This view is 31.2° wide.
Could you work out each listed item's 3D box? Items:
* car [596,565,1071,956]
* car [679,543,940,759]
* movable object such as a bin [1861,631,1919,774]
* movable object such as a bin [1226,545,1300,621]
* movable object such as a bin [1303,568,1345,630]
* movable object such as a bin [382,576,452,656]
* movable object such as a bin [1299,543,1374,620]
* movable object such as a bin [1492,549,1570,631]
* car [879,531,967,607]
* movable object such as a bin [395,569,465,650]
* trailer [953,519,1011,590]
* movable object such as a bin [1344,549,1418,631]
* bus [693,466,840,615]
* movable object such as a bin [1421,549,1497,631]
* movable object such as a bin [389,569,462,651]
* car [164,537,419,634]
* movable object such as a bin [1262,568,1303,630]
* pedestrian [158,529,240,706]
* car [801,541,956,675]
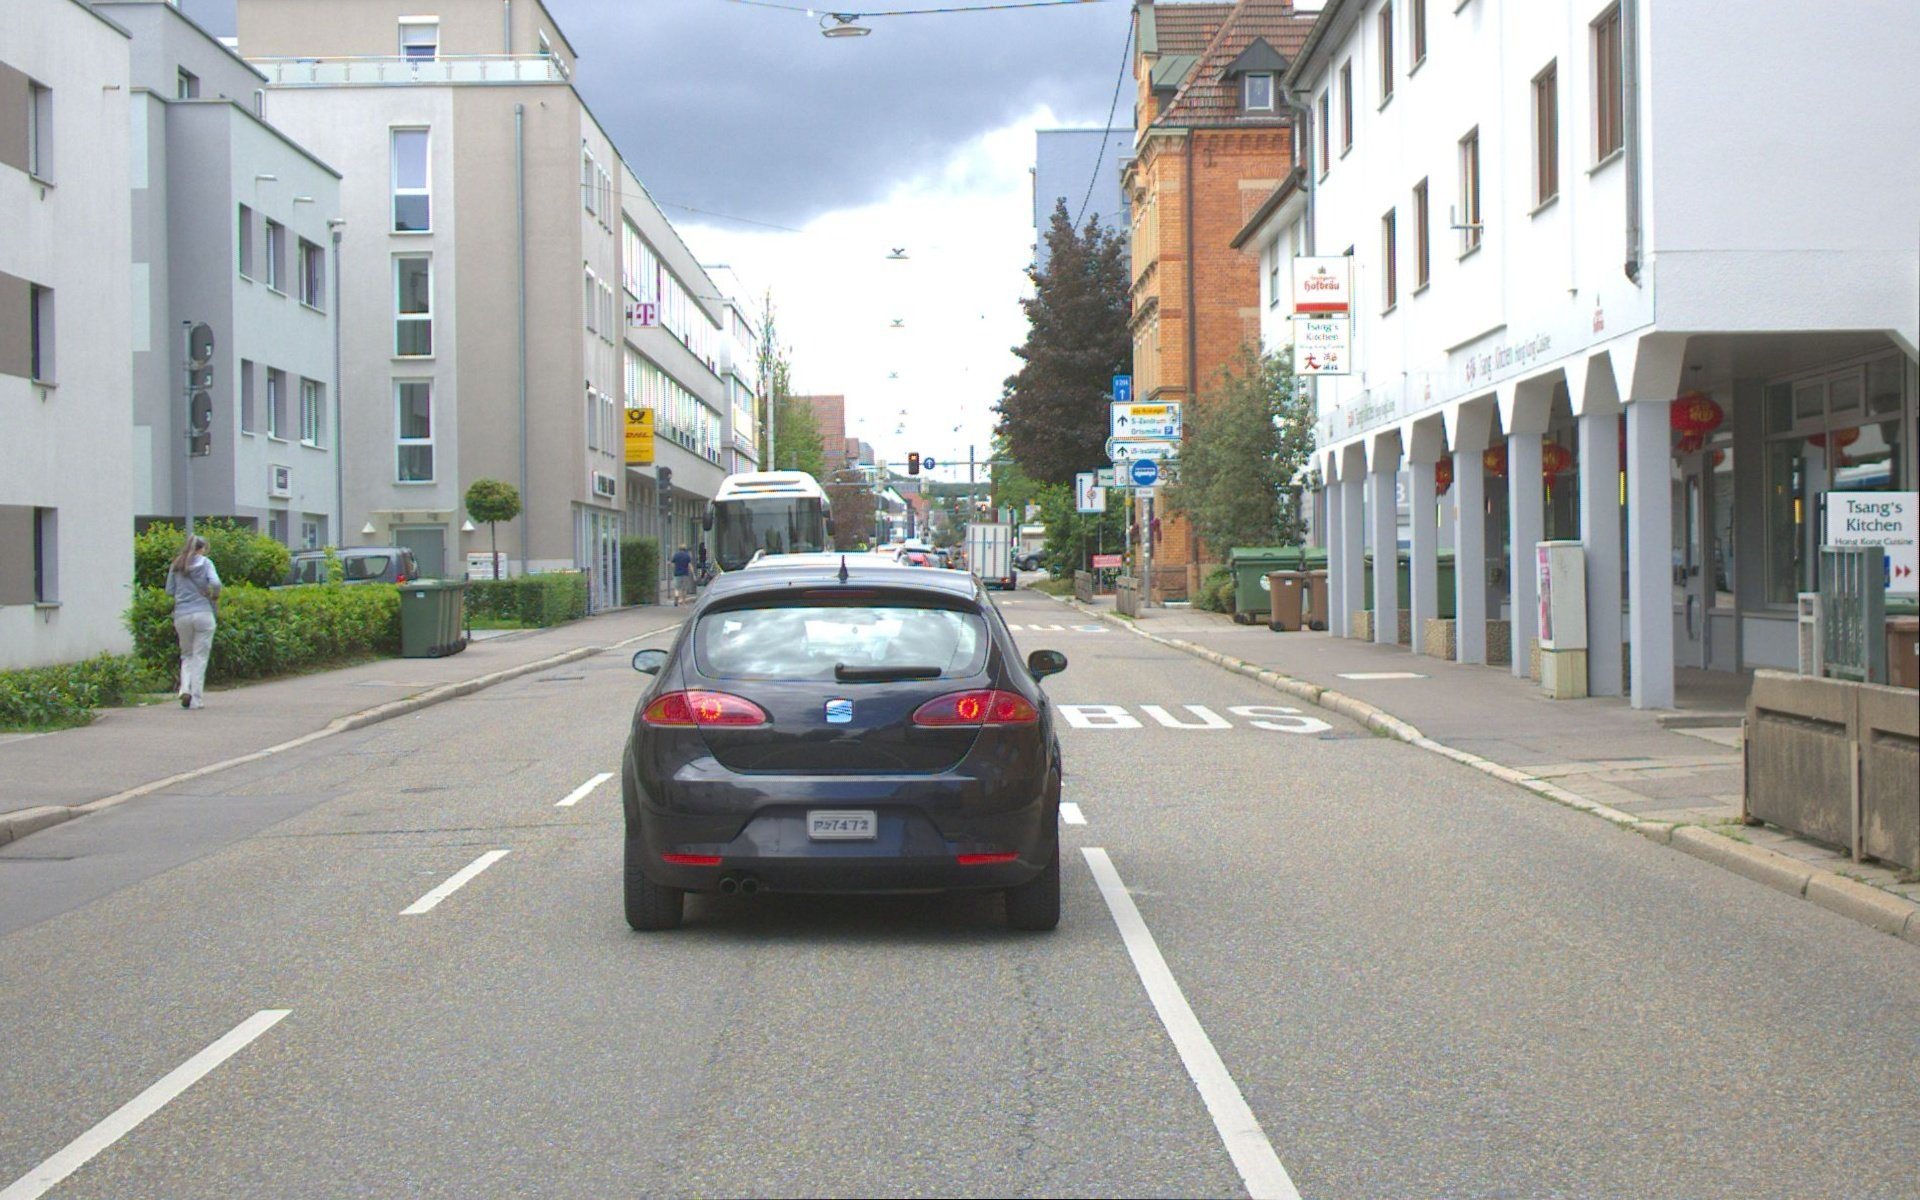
[{"bbox_3d":[-0.486,0.582,14.761,1.765,1.428,3.828,0,1,0],"label":"car"},{"bbox_3d":[-1.082,0.327,25.796,1.803,1.487,3.738,0,1,-1],"label":"car"},{"bbox_3d":[6.101,0.659,22.284,0.397,0.900,0.456,0,1,0],"label":"movable object such as a bin"},{"bbox_3d":[5.689,-0.329,64.598,1.267,1.412,1.162,0,1,0],"label":"movable object such as a bin"},{"bbox_3d":[6.421,-0.027,60.651,0.698,1.075,0.971,0,1,4],"label":"movable object such as a bin"},{"bbox_3d":[-7.590,0.218,48.071,0.894,1.085,0.793,0,1,-5],"label":"movable object such as a bin"},{"bbox_3d":[7.045,-0.354,64.379,1.267,1.430,1.307,0,1,0],"label":"movable object such as a bin"},{"bbox_3d":[9.992,-0.189,60.219,1.209,1.412,1.259,0,1,4],"label":"movable object such as a bin"},{"bbox_3d":[-0.796,-0.656,72.255,1.803,1.547,3.738,0,1,-1],"label":"car"},{"bbox_3d":[-7.674,0.131,49.830,0.948,1.147,0.749,0,1,-5],"label":"movable object such as a bin"},{"bbox_3d":[0.795,-1.714,128.760,1.993,2.598,5.349,0,1,-1],"label":"trailer"},{"bbox_3d":[7.372,-0.180,60.298,1.209,1.412,1.259,0,1,4],"label":"movable object such as a bin"},{"bbox_3d":[-4.578,-1.451,83.662,2.942,3.262,12.009,-2,1,-1],"label":"bus"},{"bbox_3d":[8.736,-0.187,60.279,1.209,1.412,1.259,0,1,4],"label":"movable object such as a bin"},{"bbox_3d":[-7.617,0.141,48.997,0.956,1.147,0.840,0,1,-5],"label":"movable object such as a bin"},{"bbox_3d":[-11.946,-0.259,61.580,4.163,1.662,1.724,-1,0,3],"label":"car"},{"bbox_3d":[5.691,-0.023,60.679,0.683,1.063,0.971,0,1,4],"label":"movable object such as a bin"},{"bbox_3d":[-7.087,0.159,32.022,0.638,1.637,0.520,0,1,0],"label":"pedestrian"},{"bbox_3d":[-0.988,0.069,42.124,1.803,1.547,3.738,0,1,-1],"label":"car"}]
